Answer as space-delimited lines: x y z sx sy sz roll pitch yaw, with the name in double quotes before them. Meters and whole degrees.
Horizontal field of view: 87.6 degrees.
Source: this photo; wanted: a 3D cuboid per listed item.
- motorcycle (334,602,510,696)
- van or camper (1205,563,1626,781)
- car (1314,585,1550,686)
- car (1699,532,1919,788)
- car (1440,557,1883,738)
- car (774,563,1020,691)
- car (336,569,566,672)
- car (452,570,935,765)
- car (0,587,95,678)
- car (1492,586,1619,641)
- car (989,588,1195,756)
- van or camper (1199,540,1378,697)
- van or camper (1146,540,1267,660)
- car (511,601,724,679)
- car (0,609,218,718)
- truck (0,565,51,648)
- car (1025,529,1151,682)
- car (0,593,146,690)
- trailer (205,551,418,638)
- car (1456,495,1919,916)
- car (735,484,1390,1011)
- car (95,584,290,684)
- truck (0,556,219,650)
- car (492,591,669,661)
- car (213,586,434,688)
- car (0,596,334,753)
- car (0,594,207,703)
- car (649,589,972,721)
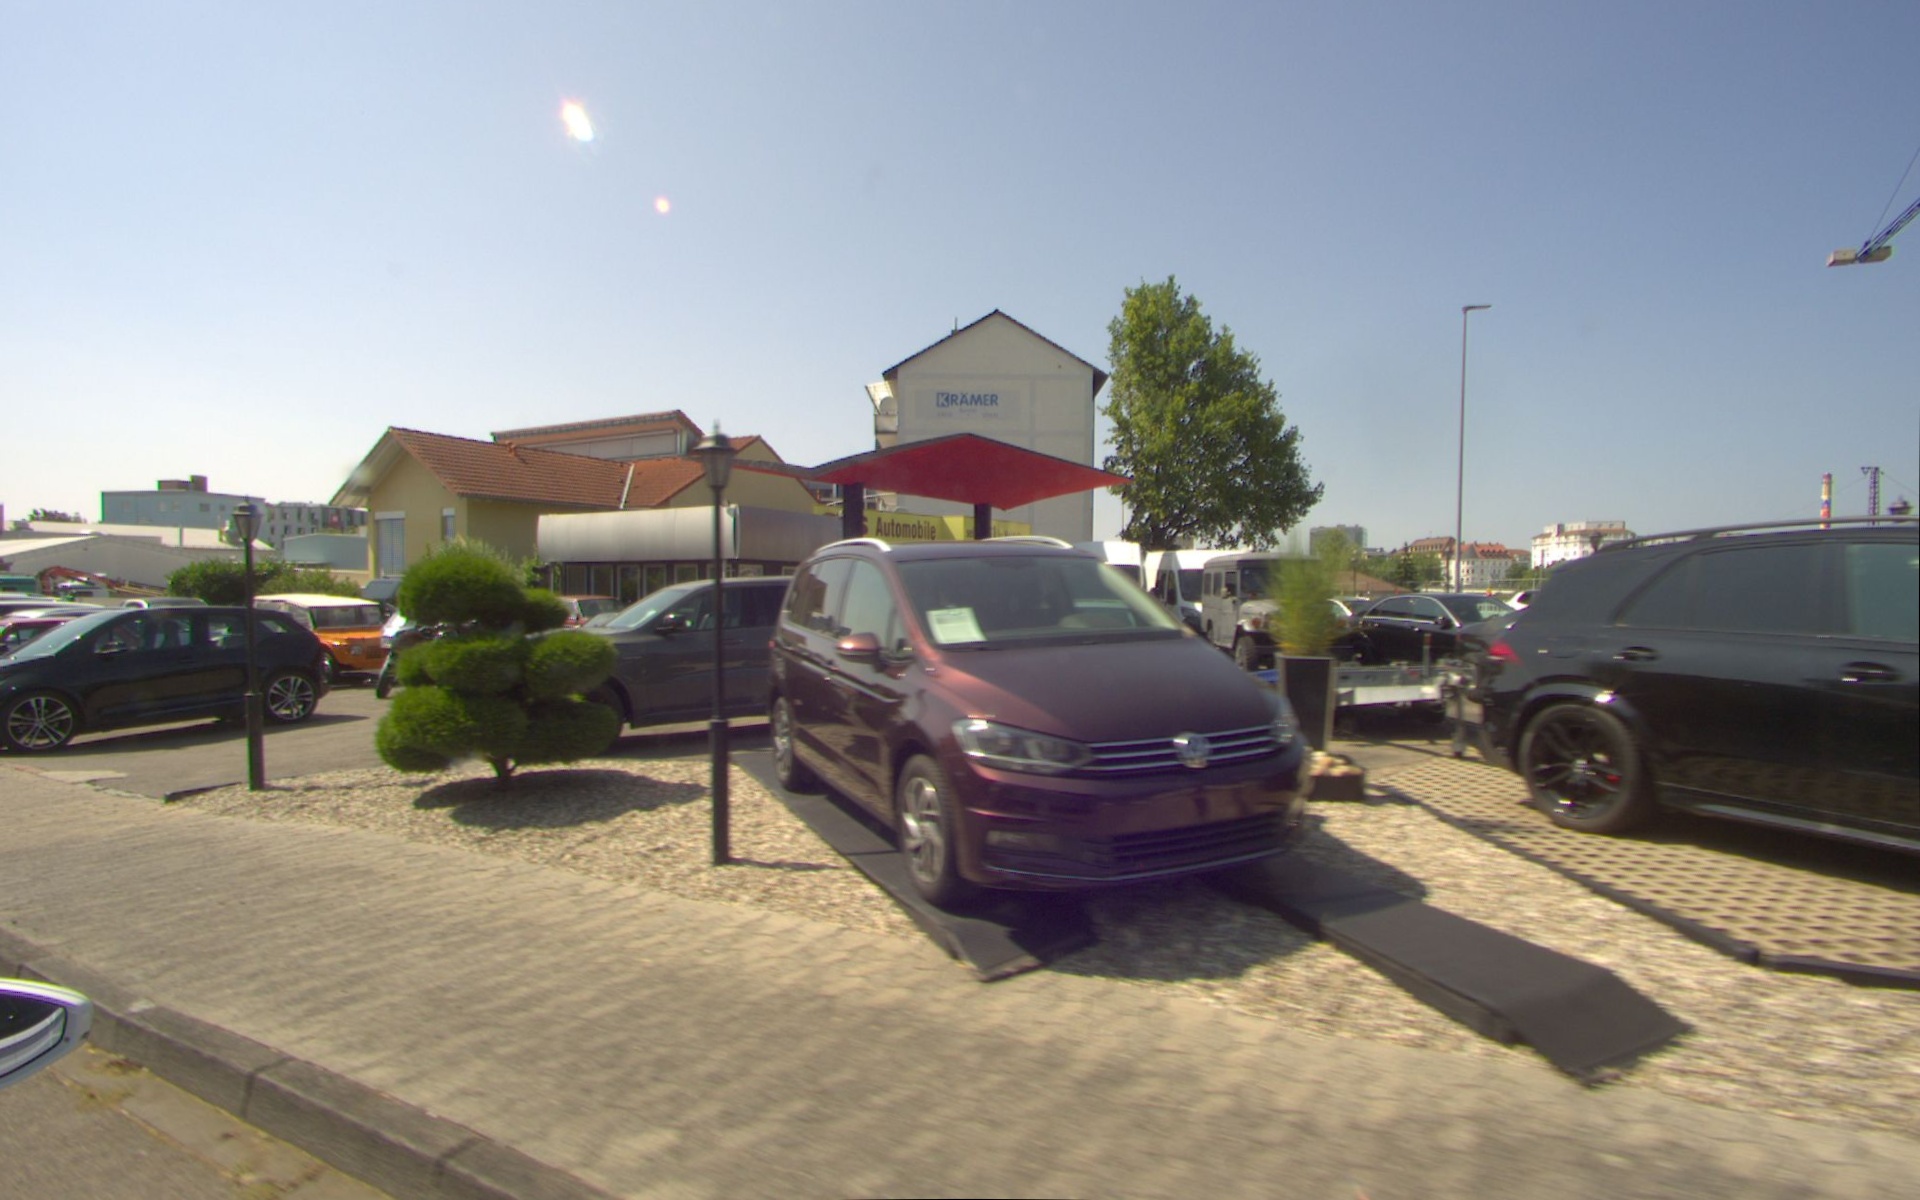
"motorcycle" -9.186 0.776 17.276 0.993 1.452 2.684 0 1 20
"van or camper" 4.160 0.567 10.091 1.961 1.706 4.292 0 0 -6
"car" 8.107 0.551 17.588 1.619 1.570 3.751 0 0 -18
"car" 7.846 0.393 6.282 1.989 1.715 4.789 -1 0 -32
"car" 7.863 0.449 11.748 1.828 1.728 3.992 0 0 -16
"car" -1.108 0.393 19.289 4.527 2.180 1.907 -2 3 -41
"car" -11.128 0.400 21.832 4.829 2.041 1.992 0 1 27
"car" -2.871 0.601 11.295 4.930 1.786 1.913 0 1 -33
"car" -18.875 0.596 18.216 1.815 1.675 4.398 0 0 29
"car" 19.261 0.416 32.613 1.961 1.662 3.999 0 0 4
"car" 1.303 0.681 11.503 1.888 1.554 4.207 -1 0 1
"van or camper" 5.483 0.300 17.495 2.071 2.291 5.505 0 0 9
"van or camper" 5.550 -0.010 23.165 1.961 2.469 4.933 0 0 5
"car" -7.045 0.760 21.076 1.918 1.336 4.114 1 2 25
"car" -12.721 0.839 13.922 1.535 1.353 3.544 0 1 29
"truck" -42.520 0.132 40.895 2.490 3.466 7.511 1 -2 31
"car" 2.723 0.132 20.909 2.216 2.714 6.017 0 0 9
"car" -16.857 0.731 16.915 1.867 1.549 4.399 -1 2 26
"trailer" -31.739 -0.271 49.409 3.027 3.914 8.305 1 1 36
"car" 5.015 0.449 4.709 1.982 1.803 4.805 0 0 -20
"car" 0.086 0.503 5.754 1.823 1.806 4.274 -1 0 -25
"car" -15.985 0.686 20.846 3.733 1.884 1.991 -1 -1 31
"truck" -36.739 0.117 42.342 2.912 3.659 8.255 1 0 34
"car" -9.486 0.597 25.022 3.936 1.617 1.992 0 1 26
"car" -12.202 0.635 19.168 3.940 1.751 1.990 0 1 31
"car" -10.186 0.789 12.372 1.733 1.646 3.797 0 1 29
"car" -14.643 0.741 15.474 1.867 1.517 4.399 -1 2 26
"car" -2.188 0.733 15.319 4.521 1.657 1.911 -2 0 -38
